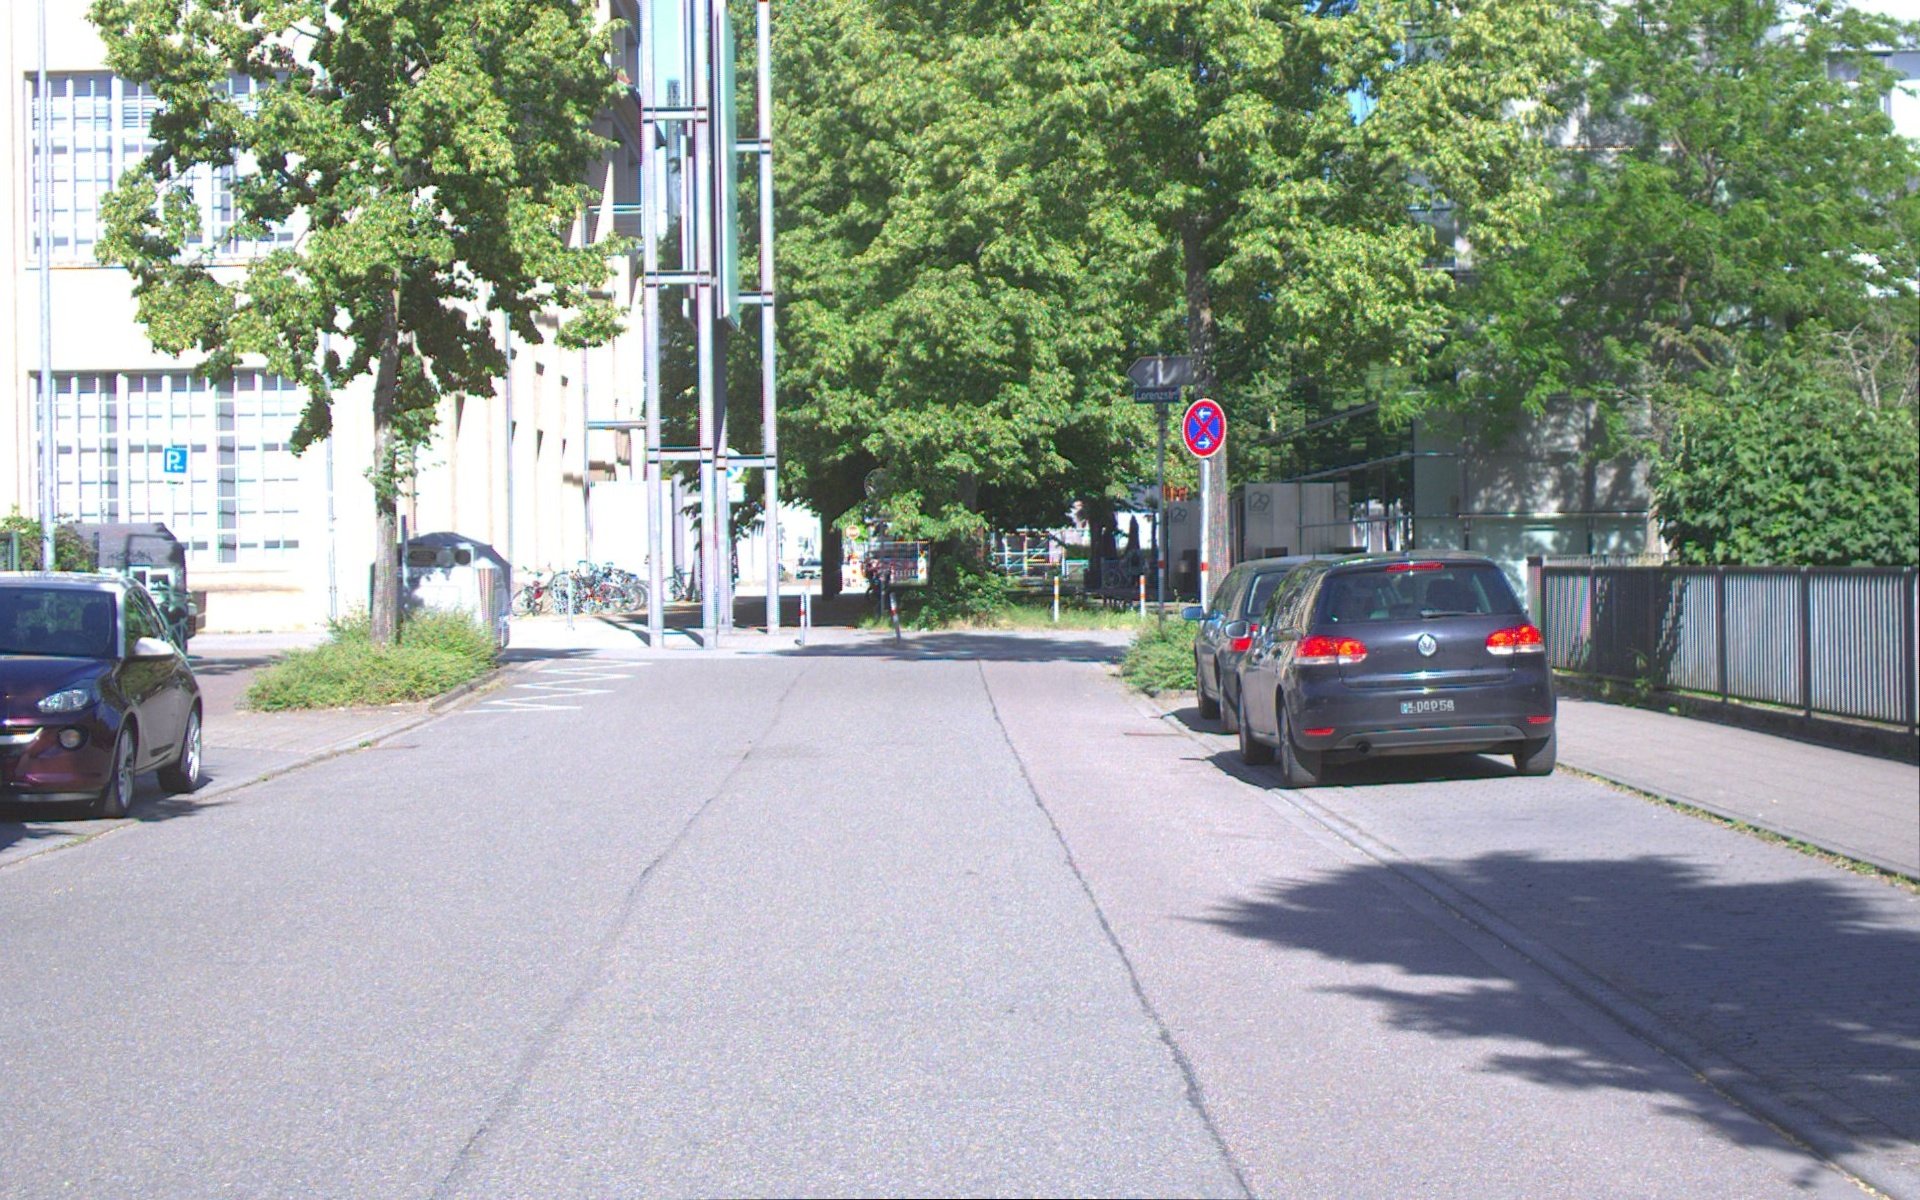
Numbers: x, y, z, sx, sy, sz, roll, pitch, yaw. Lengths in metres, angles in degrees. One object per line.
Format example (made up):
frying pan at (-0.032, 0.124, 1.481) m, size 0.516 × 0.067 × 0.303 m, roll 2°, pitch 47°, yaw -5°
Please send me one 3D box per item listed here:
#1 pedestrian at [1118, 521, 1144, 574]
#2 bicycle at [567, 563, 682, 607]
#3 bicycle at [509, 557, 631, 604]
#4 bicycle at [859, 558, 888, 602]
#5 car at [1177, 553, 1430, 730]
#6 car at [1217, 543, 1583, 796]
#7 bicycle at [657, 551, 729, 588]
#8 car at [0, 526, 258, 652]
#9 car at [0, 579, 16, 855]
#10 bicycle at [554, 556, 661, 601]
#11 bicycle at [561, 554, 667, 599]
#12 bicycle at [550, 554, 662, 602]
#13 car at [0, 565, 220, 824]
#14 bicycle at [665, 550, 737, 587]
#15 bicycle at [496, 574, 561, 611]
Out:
pedestrian at (5.084, -1.556, 102.133) m, size 0.717 × 1.545 × 0.690 m, roll -1°, pitch 1°, yaw 6°
bicycle at (-8.309, -0.371, 85.218) m, size 2.800 × 1.059 × 0.719 m, roll -1°, pitch 1°, yaw -5°
bicycle at (-9.138, -0.466, 80.636) m, size 2.800 × 1.059 × 0.719 m, roll -1°, pitch 1°, yaw -5°
bicycle at (-2.391, -0.558, 94.779) m, size 0.619 × 1.193 × 2.132 m, roll -1°, pitch 1°, yaw -6°
car at (2.906, 0.322, 29.907) m, size 1.746 × 1.417 × 4.424 m, roll 0°, pitch 0°, yaw 0°
car at (2.866, 0.396, 23.211) m, size 1.783 × 1.511 × 4.001 m, roll -1°, pitch 1°, yaw -2°
bicycle at (-7.788, -0.884, 100.247) m, size 2.058 × 1.062 × 0.506 m, roll -1°, pitch 1°, yaw 2°
car at (-12.107, -0.149, 48.177) m, size 4.090 × 1.690 × 2.000 m, roll -1°, pitch 0°, yaw 1°
car at (-5.987, 0.625, 16.509) m, size 1.840 × 1.469 × 4.002 m, roll 1°, pitch 1°, yaw -1°
bicycle at (-9.115, -0.563, 88.994) m, size 2.731 × 1.147 × 0.719 m, roll -1°, pitch 1°, yaw -5°
bicycle at (-9.040, -0.615, 89.784) m, size 2.731 × 1.147 × 0.719 m, roll -1°, pitch 1°, yaw -5°
bicycle at (-9.012, -0.564, 87.673) m, size 2.800 × 1.147 × 0.719 m, roll -1°, pitch 1°, yaw -5°
car at (-5.845, 0.528, 21.702) m, size 1.717 × 1.469 × 3.547 m, roll 1°, pitch 1°, yaw -3°
bicycle at (-7.623, -0.915, 101.054) m, size 2.058 × 1.062 × 0.506 m, roll -1°, pitch 1°, yaw 2°
bicycle at (-9.750, -0.176, 77.839) m, size 0.778 × 0.789 × 2.883 m, roll 0°, pitch 1°, yaw 7°
